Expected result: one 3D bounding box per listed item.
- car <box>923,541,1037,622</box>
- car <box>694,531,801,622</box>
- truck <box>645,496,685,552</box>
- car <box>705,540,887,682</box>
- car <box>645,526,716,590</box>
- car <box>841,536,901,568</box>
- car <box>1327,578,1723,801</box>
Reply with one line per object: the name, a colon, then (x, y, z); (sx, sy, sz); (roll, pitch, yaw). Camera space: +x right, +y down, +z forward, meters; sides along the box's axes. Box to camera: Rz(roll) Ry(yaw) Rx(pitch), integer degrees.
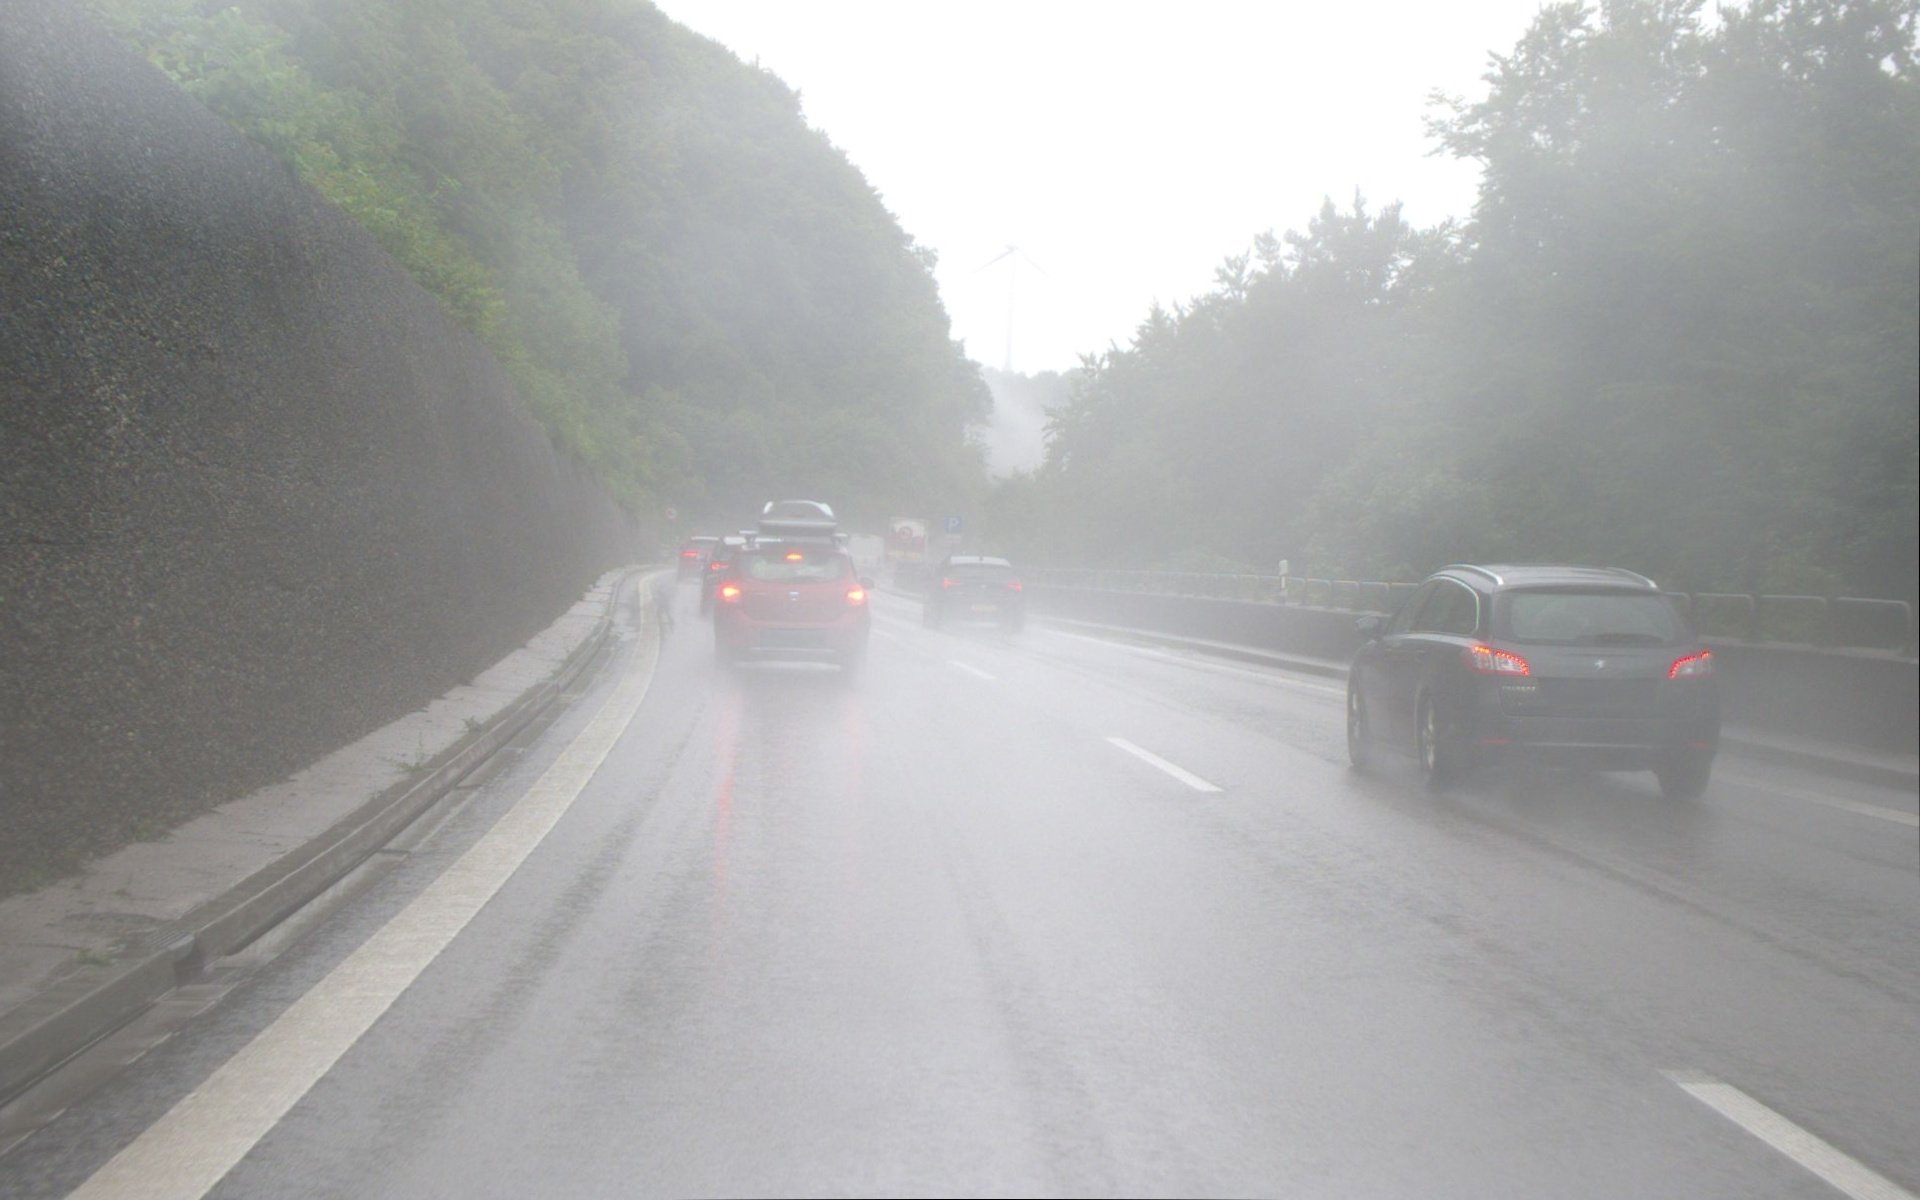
car: (0.367, -0.388, 68.693); (1.993, 1.546, 4.001); (1, 1, -3)
car: (-4.118, -0.436, 67.135); (1.993, 1.678, 4.000); (1, 0, -3)
truck: (-14.809, -3.797, 172.489); (1.993, 2.741, 5.587); (0, 1, -5)
car: (-1.916, 0.124, 39.860); (1.993, 1.547, 4.000); (0, 0, -3)
car: (-9.274, -1.380, 113.897); (1.993, 2.007, 4.001); (1, 0, -9)
car: (-5.672, -3.063, 219.307); (2.448, 2.007, 4.738); (1, 1, -19)
car: (3.607, 0.526, 22.631); (1.800, 1.303, 4.000); (0, 1, -2)
